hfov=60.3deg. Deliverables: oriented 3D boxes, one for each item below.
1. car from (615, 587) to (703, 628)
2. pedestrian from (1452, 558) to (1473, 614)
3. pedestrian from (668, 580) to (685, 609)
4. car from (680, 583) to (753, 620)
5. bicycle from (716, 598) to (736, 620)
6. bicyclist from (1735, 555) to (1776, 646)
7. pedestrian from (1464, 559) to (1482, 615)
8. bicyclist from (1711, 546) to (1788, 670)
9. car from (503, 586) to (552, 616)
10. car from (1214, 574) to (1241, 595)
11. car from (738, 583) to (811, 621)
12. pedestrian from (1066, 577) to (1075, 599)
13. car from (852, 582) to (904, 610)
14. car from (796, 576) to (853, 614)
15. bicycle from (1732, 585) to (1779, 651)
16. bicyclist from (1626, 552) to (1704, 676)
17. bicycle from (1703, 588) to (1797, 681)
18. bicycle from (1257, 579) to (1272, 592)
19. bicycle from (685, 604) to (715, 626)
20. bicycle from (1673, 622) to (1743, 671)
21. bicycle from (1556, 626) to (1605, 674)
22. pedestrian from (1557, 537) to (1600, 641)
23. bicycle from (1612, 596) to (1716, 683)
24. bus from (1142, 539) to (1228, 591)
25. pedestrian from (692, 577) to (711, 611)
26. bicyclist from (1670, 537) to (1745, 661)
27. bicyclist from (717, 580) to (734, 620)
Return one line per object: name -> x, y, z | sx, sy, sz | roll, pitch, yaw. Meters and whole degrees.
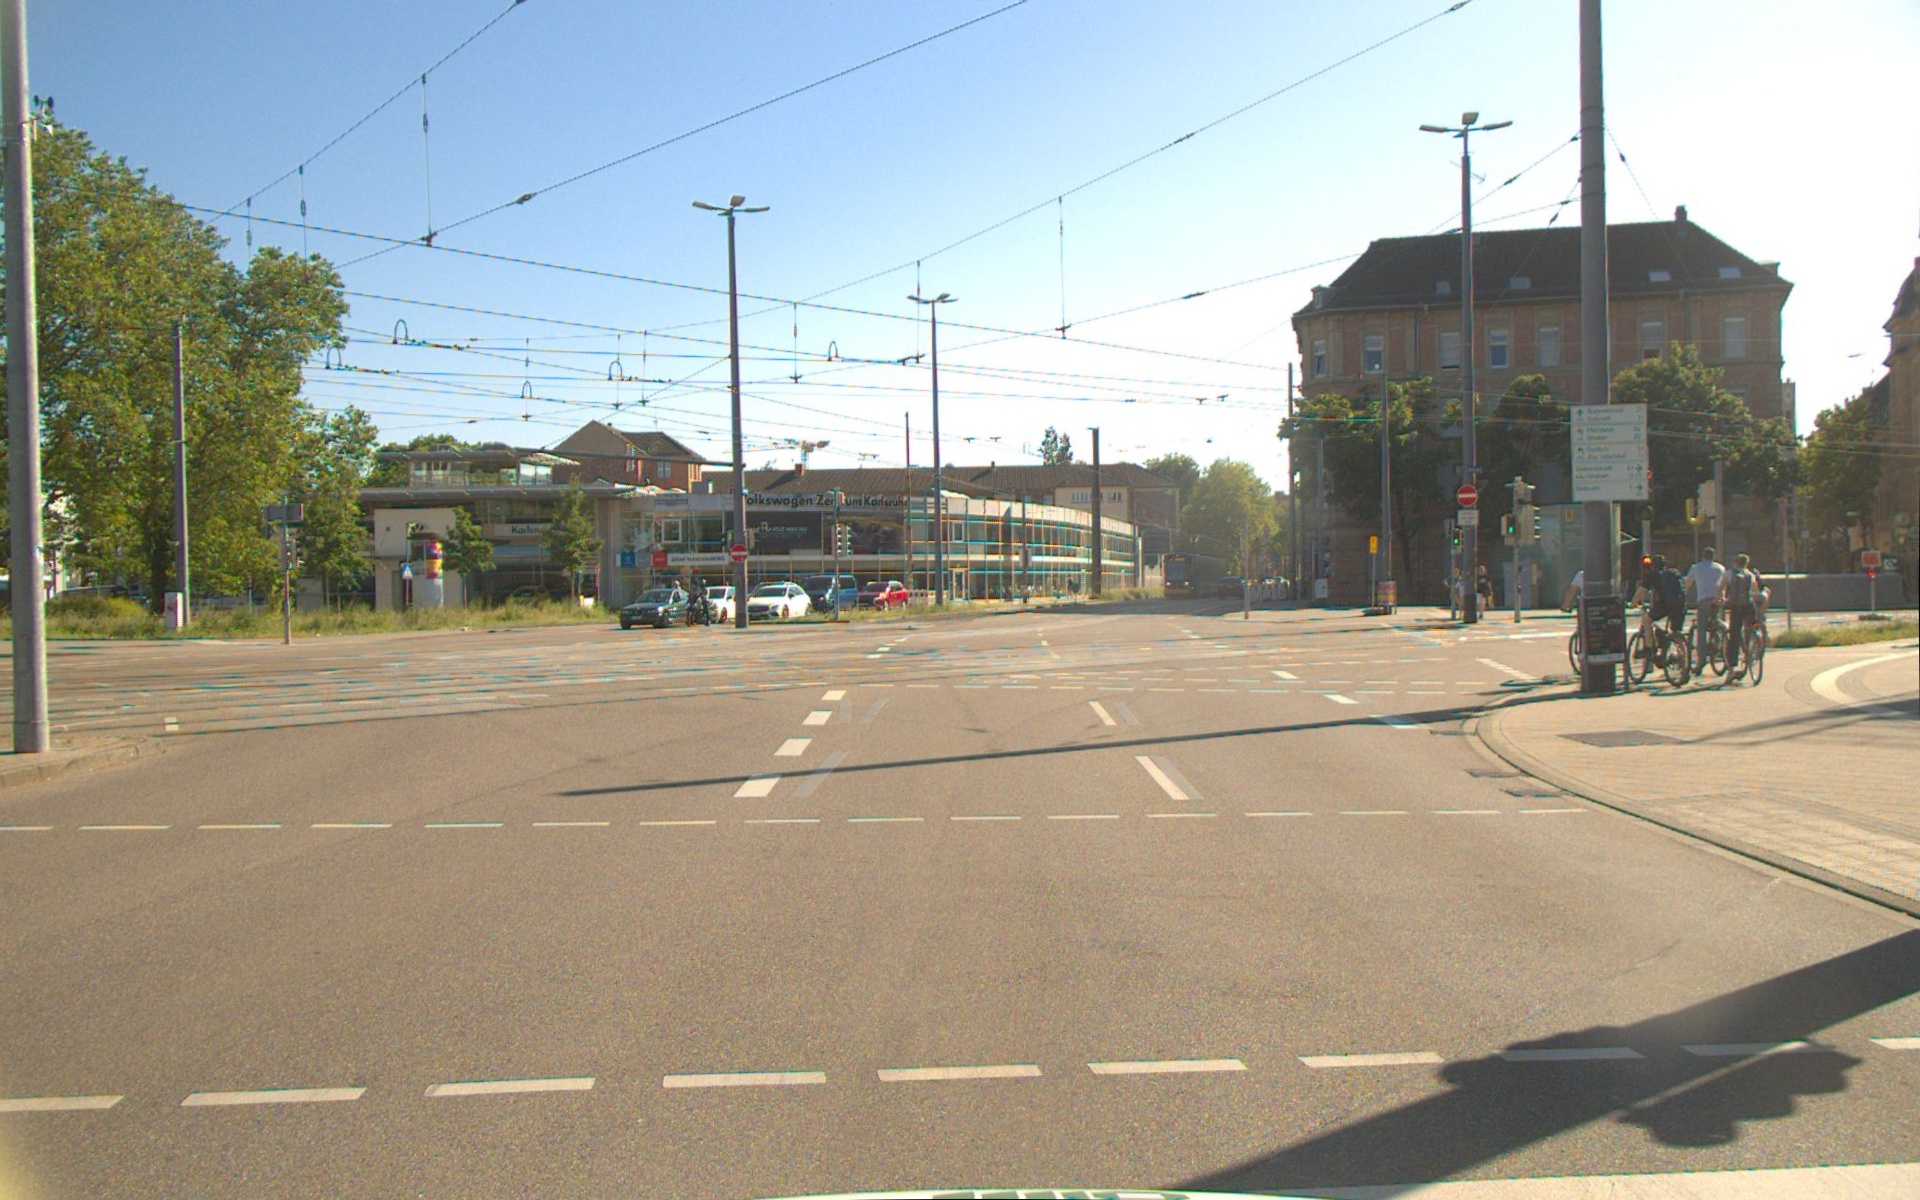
car -> -11.010, 0.256, 60.697 | 1.667, 1.378, 3.703 | -1, 1, 16
pedestrian -> 18.398, -0.520, 60.546 | 0.564, 2.049, 0.449 | -1, 1, -19
pedestrian -> -12.006, -0.225, 70.124 | 0.414, 1.225, 0.681 | -1, 0, 18
car -> -9.787, 0.041, 66.670 | 1.591, 1.448, 3.689 | -1, 1, 14
bicycle -> -10.361, 0.409, 73.317 | 0.458, 0.943, 1.476 | -1, 1, 10
bicyclist -> 14.238, -0.003, 29.613 | 0.559, 1.596, 0.947 | 0, 1, 19
pedestrian -> 18.820, -0.484, 60.694 | 0.453, 2.049, 0.449 | -1, 1, -18
bicyclist -> 10.694, 0.101, 22.430 | 0.670, 1.626, 0.978 | -2, 0, 11
car -> -25.972, 0.034, 99.473 | 1.926, 1.735, 4.083 | -1, 1, -1
car -> 20.504, -1.210, 126.609 | 1.663, 1.529, 4.268 | -1, 1, 14
car -> -7.235, 0.066, 64.827 | 1.591, 1.406, 3.741 | -1, 1, 14
pedestrian -> 8.729, -0.931, 130.564 | 0.531, 1.718, 0.630 | -1, 0, 20
car -> -4.243, -0.211, 86.016 | 1.591, 1.388, 3.688 | -1, 1, 16
car -> -6.422, -0.246, 78.856 | 1.591, 1.722, 3.689 | -1, 1, 14
bicycle -> 14.218, 0.304, 29.577 | 0.559, 1.145, 1.741 | 0, 1, 19
bicyclist -> 9.749, 0.186, 22.906 | 0.612, 1.666, 0.995 | -1, 0, -1
bicycle -> 10.720, 0.441, 22.512 | 0.670, 1.184, 1.885 | -2, 0, 11
bicycle -> 20.449, -0.959, 111.035 | 0.727, 0.885, 1.932 | -1, 0, 17
bicycle -> -9.448, 0.542, 60.070 | 0.413, 0.730, 1.636 | -1, 1, 16
bicycle -> 11.241, 0.691, 24.894 | 0.525, 0.667, 1.469 | -2, 1, 6
bicycle -> 9.802, 0.783, 26.144 | 0.525, 0.667, 1.727 | -3, 0, 15
pedestrian -> 9.706, -0.172, 25.972 | 0.536, 1.590, 0.859 | -1, 0, 15
bicycle -> 9.756, 0.524, 22.981 | 0.612, 1.133, 1.850 | -1, 0, -1
bus -> 18.866, -2.699, 136.335 | 3.755, 3.670, 24.883 | 1, 0, 15
pedestrian -> -9.417, -0.204, 60.246 | 0.413, 1.225, 0.750 | -1, 0, 16
bicyclist -> 11.206, -0.017, 24.833 | 0.731, 1.809, 0.925 | -2, 0, 6
bicyclist -> -10.383, 0.009, 73.237 | 0.556, 1.743, 0.649 | -1, 0, 10
